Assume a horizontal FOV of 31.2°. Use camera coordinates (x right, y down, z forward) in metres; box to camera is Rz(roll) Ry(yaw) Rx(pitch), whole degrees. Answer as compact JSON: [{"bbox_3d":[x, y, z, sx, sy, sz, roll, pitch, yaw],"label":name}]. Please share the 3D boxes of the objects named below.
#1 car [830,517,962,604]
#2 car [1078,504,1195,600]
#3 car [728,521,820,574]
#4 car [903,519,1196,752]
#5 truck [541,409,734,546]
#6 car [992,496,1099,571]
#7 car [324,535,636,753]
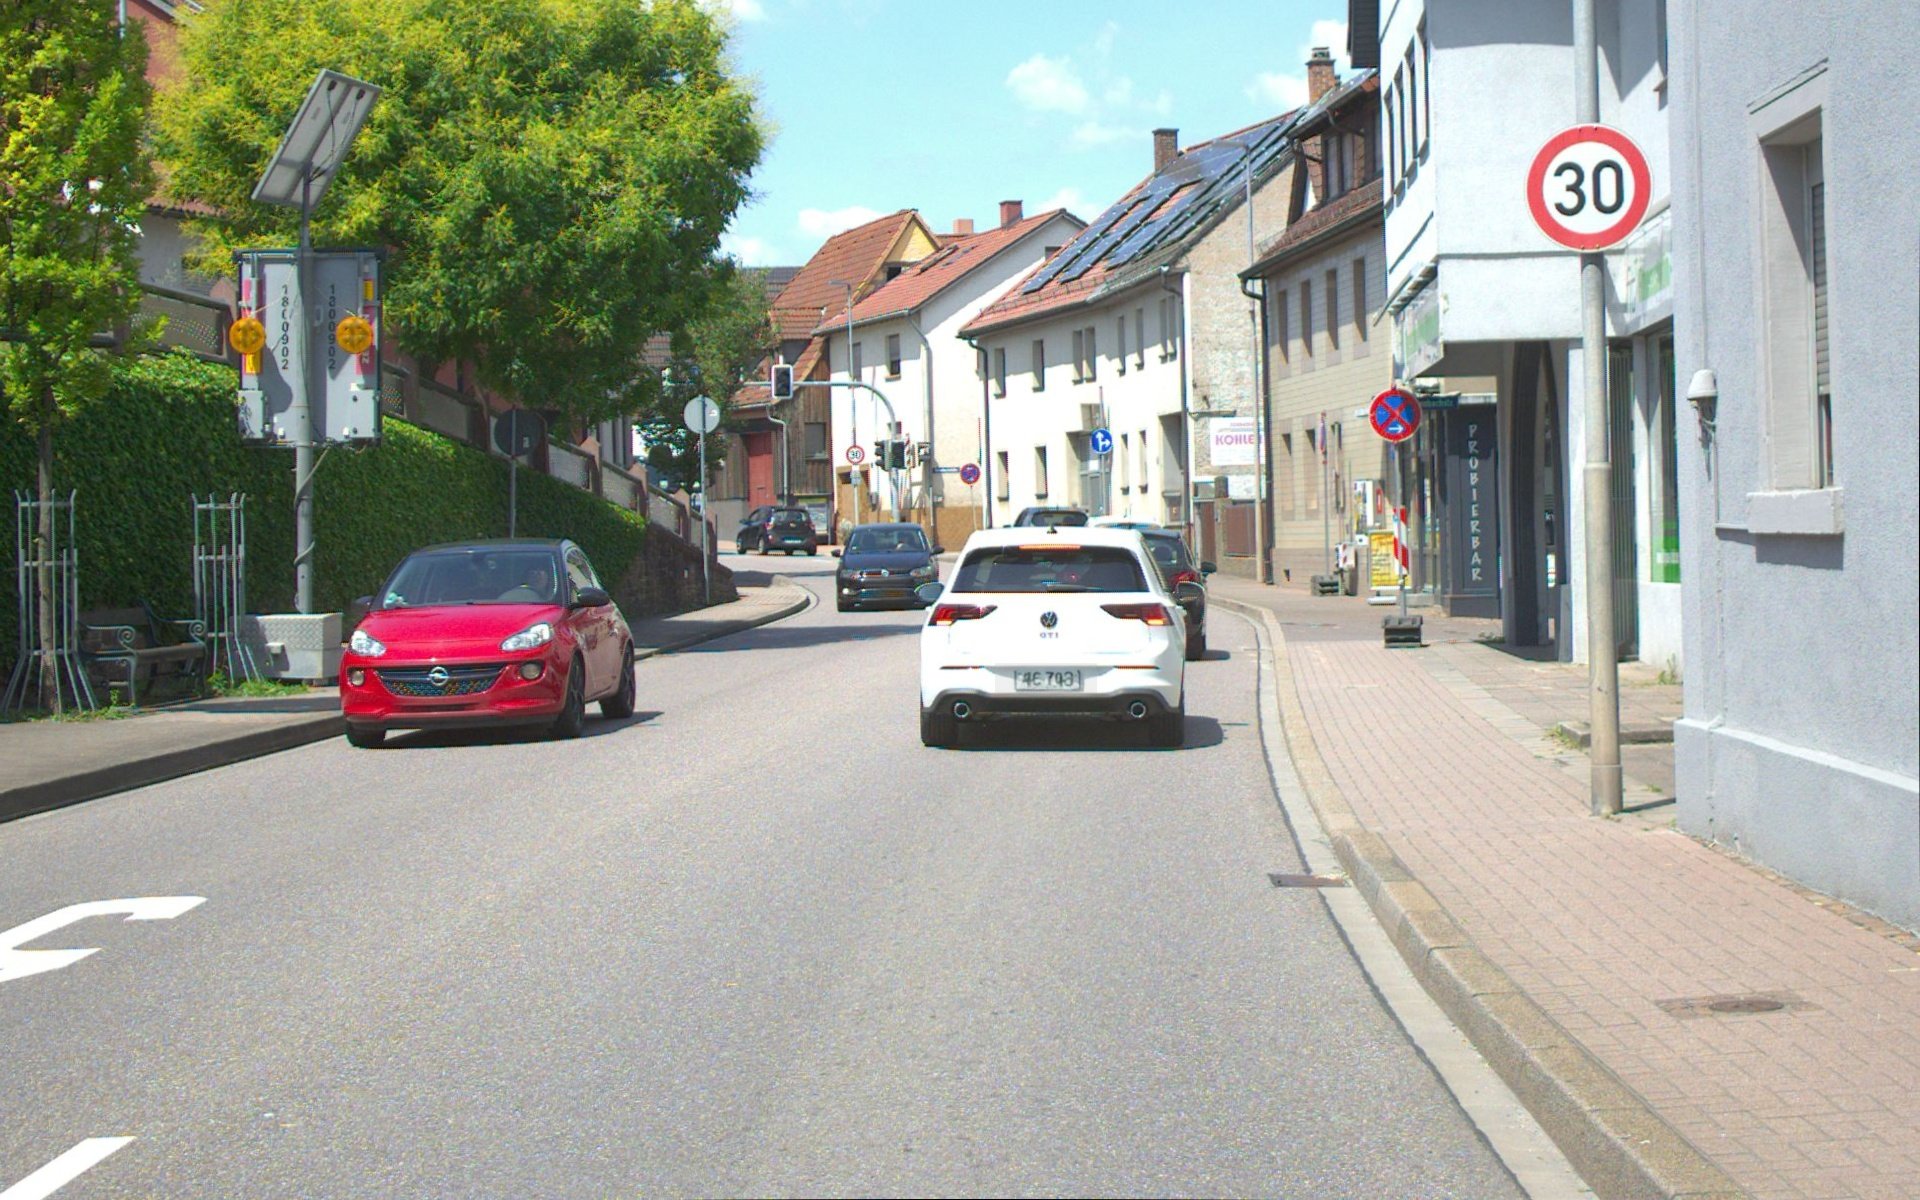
[{"bbox_3d":[-1.035,-0.687,57.681,1.794,1.373,4.116,-1,1,5],"label":"car"},{"bbox_3d":[2.874,-0.787,55.773,1.808,1.462,4.000,1,1,3],"label":"car"},{"bbox_3d":[-5.574,-1.587,102.490,1.775,1.533,4.001,-1,2,-18],"label":"car"},{"bbox_3d":[0.537,0.190,23.872,1.807,1.462,4.000,1,1,-1],"label":"car"},{"bbox_3d":[-9.958,-3.689,105.110,2.645,4.015,9.192,-1,2,-27],"label":"truck"},{"bbox_3d":[1.789,-1.422,73.346,1.775,1.533,4.001,-1,1,-6],"label":"car"},{"bbox_3d":[-3.549,0.272,26.031,1.617,1.439,3.801,-2,1,3],"label":"car"}]
